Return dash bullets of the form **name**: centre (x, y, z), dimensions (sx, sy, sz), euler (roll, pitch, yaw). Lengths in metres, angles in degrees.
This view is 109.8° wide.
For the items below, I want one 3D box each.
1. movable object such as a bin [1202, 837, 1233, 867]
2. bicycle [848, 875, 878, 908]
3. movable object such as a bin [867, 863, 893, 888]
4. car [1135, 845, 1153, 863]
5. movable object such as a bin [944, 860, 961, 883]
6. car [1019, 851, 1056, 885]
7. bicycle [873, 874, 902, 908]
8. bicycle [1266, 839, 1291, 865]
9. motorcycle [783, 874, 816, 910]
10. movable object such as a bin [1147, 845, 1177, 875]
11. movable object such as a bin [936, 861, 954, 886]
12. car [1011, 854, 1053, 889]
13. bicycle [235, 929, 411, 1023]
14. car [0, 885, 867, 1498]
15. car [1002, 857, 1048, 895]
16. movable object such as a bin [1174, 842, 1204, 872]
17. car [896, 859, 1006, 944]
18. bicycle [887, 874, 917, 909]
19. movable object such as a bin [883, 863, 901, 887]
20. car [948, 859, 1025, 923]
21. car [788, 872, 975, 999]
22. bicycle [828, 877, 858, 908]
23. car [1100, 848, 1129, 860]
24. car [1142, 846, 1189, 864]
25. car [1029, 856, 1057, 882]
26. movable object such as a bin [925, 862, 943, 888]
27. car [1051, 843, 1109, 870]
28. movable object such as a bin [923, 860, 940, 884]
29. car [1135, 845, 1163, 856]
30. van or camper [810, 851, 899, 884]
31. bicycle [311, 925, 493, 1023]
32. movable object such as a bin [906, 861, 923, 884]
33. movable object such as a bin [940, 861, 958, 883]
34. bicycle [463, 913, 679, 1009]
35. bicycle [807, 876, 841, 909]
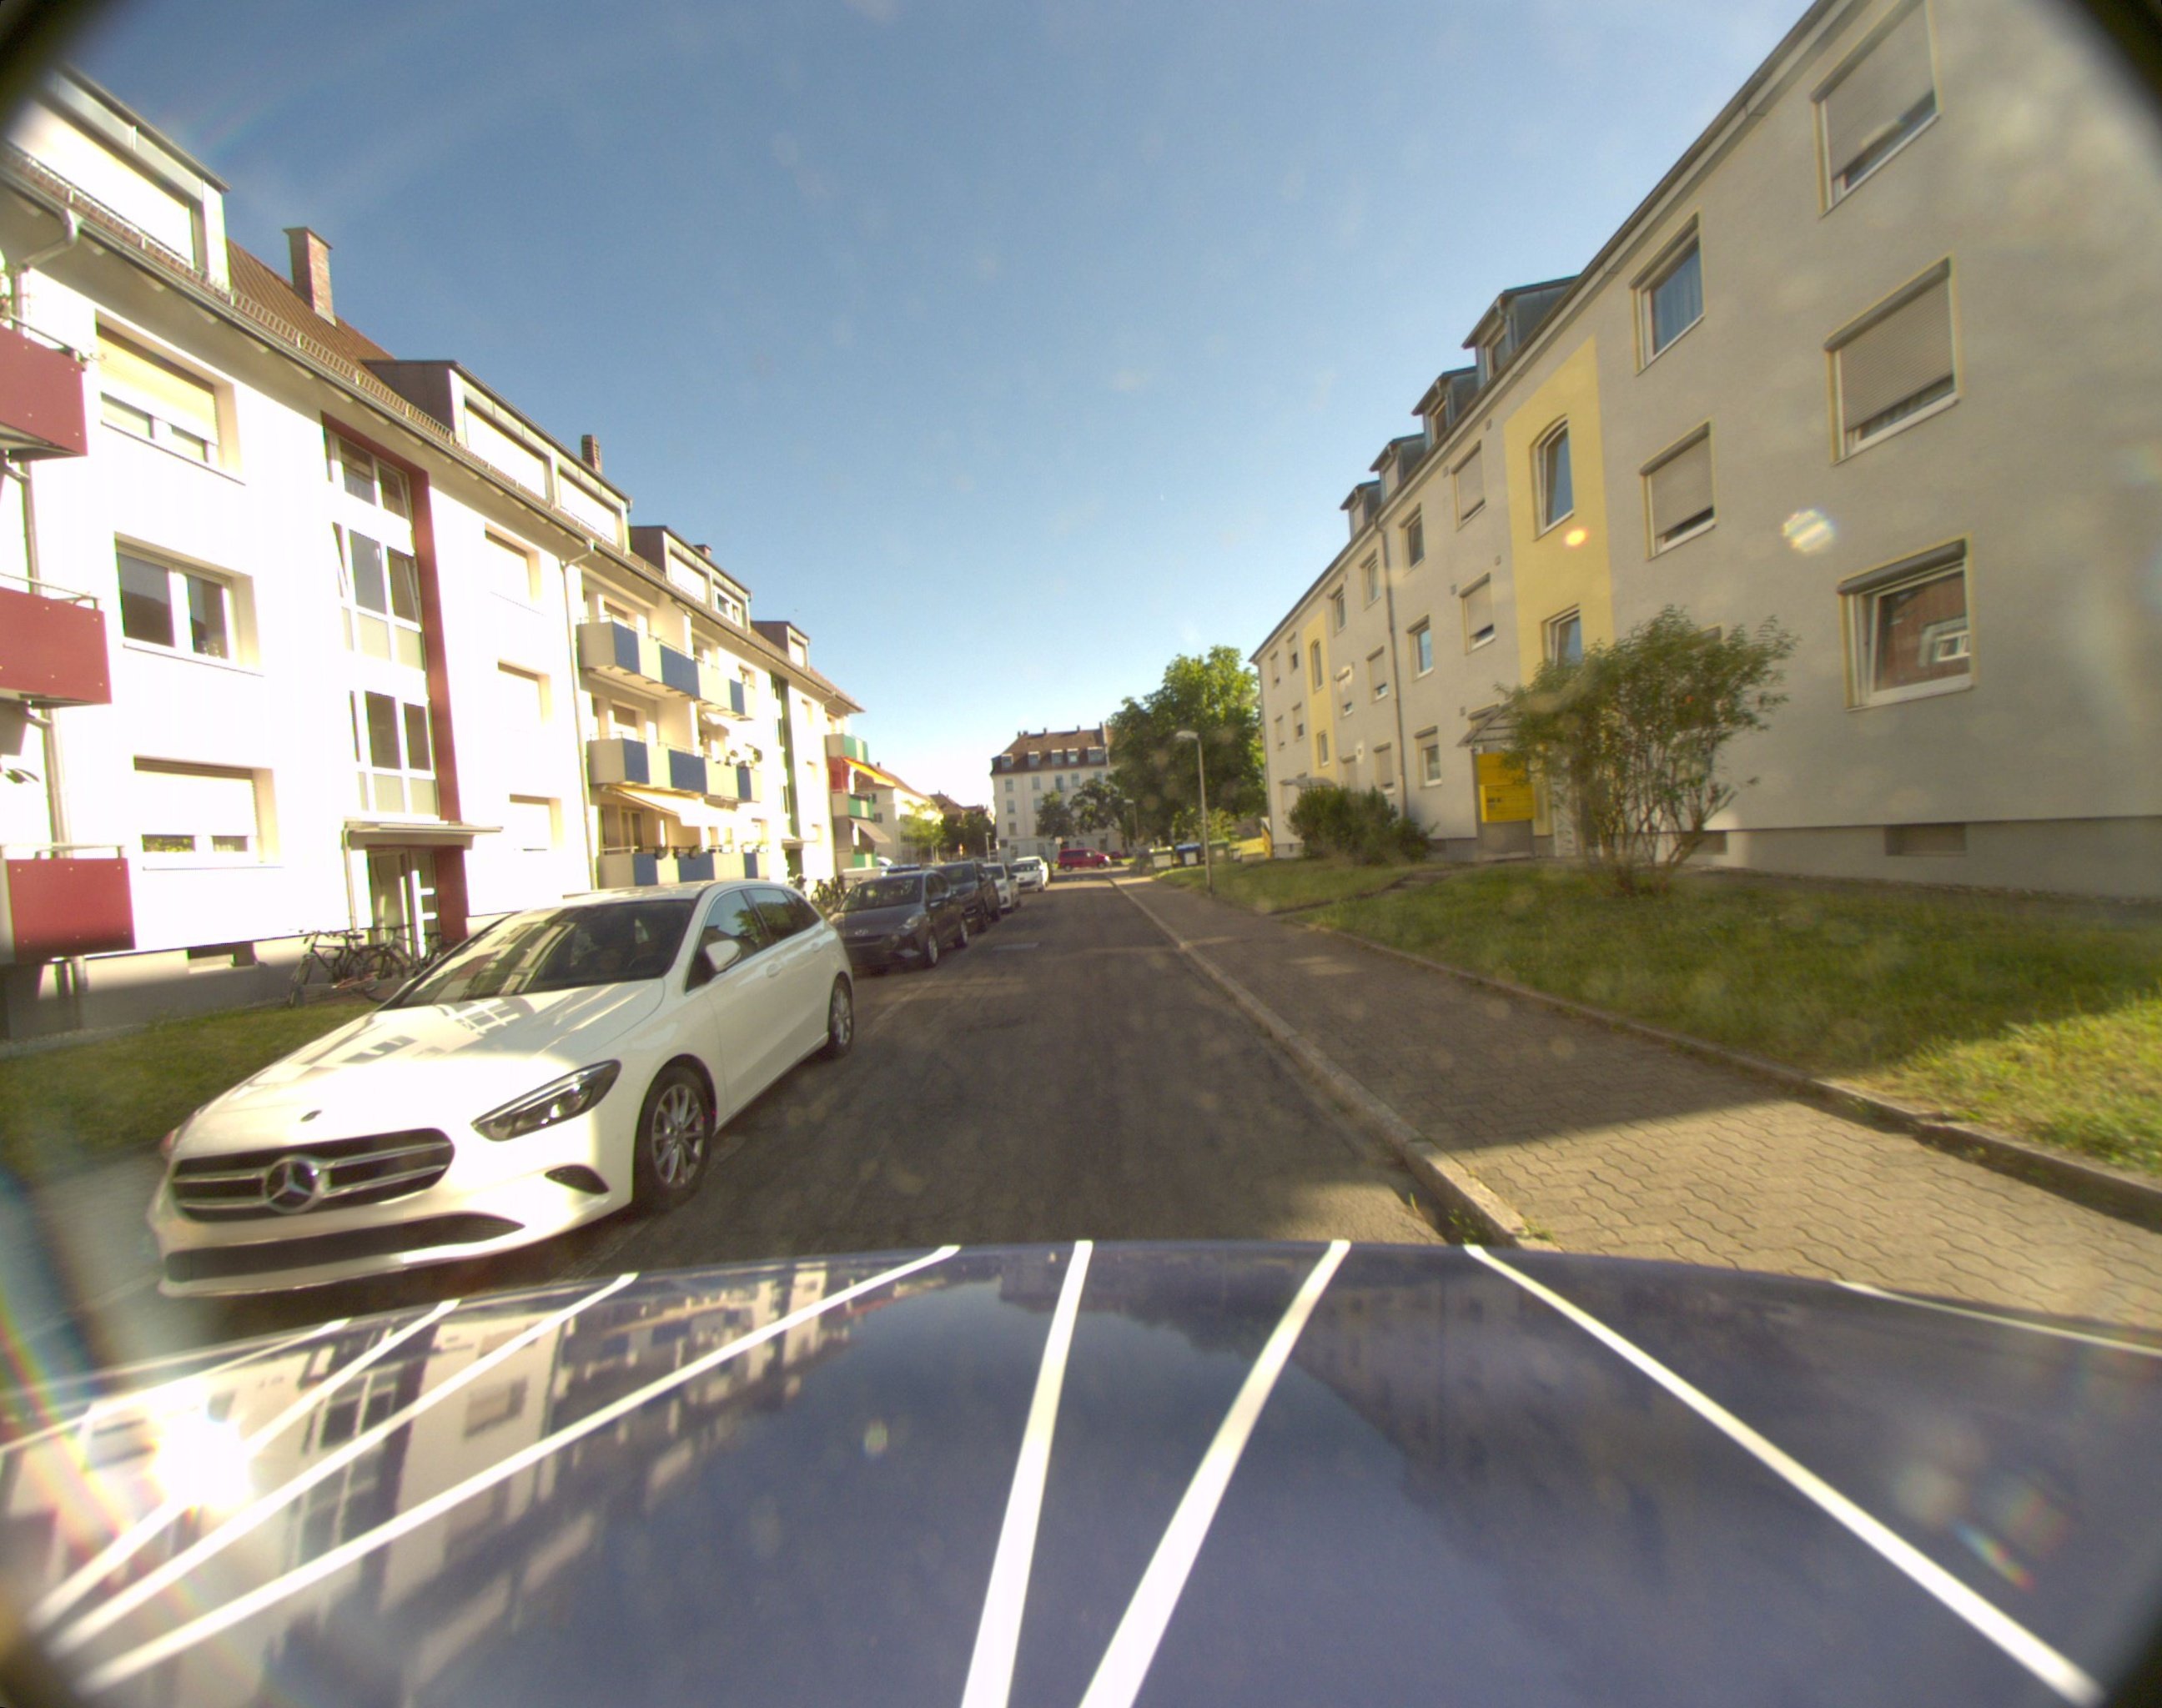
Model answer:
- **movable object such as a bin**: centre (7.483, -0.101, 41.669), dimensions (1.363, 1.445, 1.072), euler (-8, 1, 0)
- **bicycle**: centre (-8.159, 1.383, 28.450), dimensions (0.545, 1.114, 1.872), euler (-2, 0, 0)
- **movable object such as a bin**: centre (-12.704, 1.363, 48.065), dimensions (1.239, 1.439, 1.278), euler (-3, 1, -2)
- **car**: centre (6.190, 0.027, 74.711), dimensions (1.678, 1.645, 3.305), euler (-3, 1, 4)
- **movable object such as a bin**: centre (-8.275, 1.116, 49.025), dimensions (0.921, 1.390, 0.866), euler (-3, 1, -1)
- **car**: centre (-2.678, 0.819, 47.478), dimensions (1.855, 1.790, 4.253), euler (-7, 1, 0)
- **bicycle**: centre (-7.205, 1.361, 28.412), dimensions (0.579, 1.126, 1.872), euler (-2, 0, 0)
- **bicycle**: centre (9.887, -0.099, 38.121), dimensions (0.641, 1.243, 2.009), euler (-5, 1, 0)
- **motorcycle**: centre (-10.605, 1.423, 28.673), dimensions (0.442, 1.231, 1.976), euler (-3, 0, 0)
- **movable object such as a bin**: centre (4.421, 0.301, 41.596), dimensions (1.318, 1.451, 1.198), euler (-8, 1, 0)
- **movable object such as a bin**: centre (-8.329, 1.203, 46.556), dimensions (0.921, 1.439, 0.866), euler (-3, 1, -1)
- **car**: centre (-2.552, 0.878, 40.272), dimensions (1.805, 1.583, 4.581), euler (-5, 0, 0)
- **bicycle**: centre (-11.015, 1.729, 11.152), dimensions (0.521, 1.031, 1.975), euler (-3, 0, 1)
- **car**: centre (-2.801, 1.108, 4.494), dimensions (1.777, 1.496, 4.479), euler (-5, 0, -1)
- **car**: centre (-2.516, 0.966, 34.961), dimensions (1.695, 1.410, 4.097), euler (-6, 0, 0)
- **movable object such as a bin**: centre (5.908, 0.145, 41.656), dimensions (1.358, 1.451, 1.082), euler (-8, 1, 0)
- **car**: centre (-2.855, 0.979, 17.590), dimensions (1.728, 1.569, 4.352), euler (-3, 0, 0)
- **bicycle**: centre (-6.497, 1.350, 27.662), dimensions (0.546, 1.163, 1.873), euler (-2, 1, 2)
- **movable object such as a bin**: centre (-12.259, 1.356, 49.218), dimensions (0.866, 1.511, 0.922), euler (-3, 1, -1)
- **car**: centre (-2.748, 1.039, 22.893), dimensions (1.717, 1.501, 3.853), euler (-7, 0, 0)
- **car**: centre (-2.997, 1.158, 12.370), dimensions (1.650, 1.441, 4.061), euler (-6, 0, 3)
- **bicycle**: centre (-8.876, 1.417, 28.427), dimensions (0.539, 1.076, 1.872), euler (-1, 0, 0)
- **car**: centre (4.751, -0.059, 106.899), dimensions (3.996, 1.477, 1.722), euler (-3, 1, 2)
- **car**: centre (7.945, 0.111, 71.544), dimensions (4.140, 1.488, 1.729), euler (-3, 1, 0)
- **car**: centre (-2.626, 0.995, 53.102), dimensions (1.728, 1.528, 3.951), euler (-6, 1, -1)
- **movable object such as a bin**: centre (-8.729, 1.245, 45.148), dimensions (0.866, 1.439, 0.922), euler (-3, 1, -4)
- **car**: centre (-0.080, 0.218, 68.225), dimensions (4.992, 2.002, 2.000), euler (-4, 1, 3)
- **movable object such as a bin**: centre (-9.664, 1.167, 49.232), dimensions (0.866, 1.439, 0.922), euler (-3, 1, -4)
- **car**: centre (9.501, -0.493, 106.826), dimensions (3.787, 1.437, 1.625), euler (-3, 1, 2)
- **van or camper**: centre (-19.659, 1.143, 66.197), dimensions (6.980, 2.486, 2.177), euler (-3, 1, 2)
- **bicycle**: centre (-9.700, 1.666, 11.014), dimensions (0.521, 1.043, 2.288), euler (-2, 0, 1)
- **movable object such as a bin**: centre (-10.776, 1.188, 49.086), dimensions (0.866, 1.439, 0.922), euler (-3, 1, -4)
- **movable object such as a bin**: centre (-8.285, 1.151, 47.799), dimensions (0.921, 1.318, 0.866), euler (-3, 1, -1)
- **bicycle**: centre (-7.043, 1.467, 10.557), dimensions (2.429, 1.123, 0.879), euler (-3, 1, 6)
- **bicycle**: centre (-9.605, 1.426, 28.489), dimensions (0.598, 1.109, 1.872), euler (-3, 0, 0)
